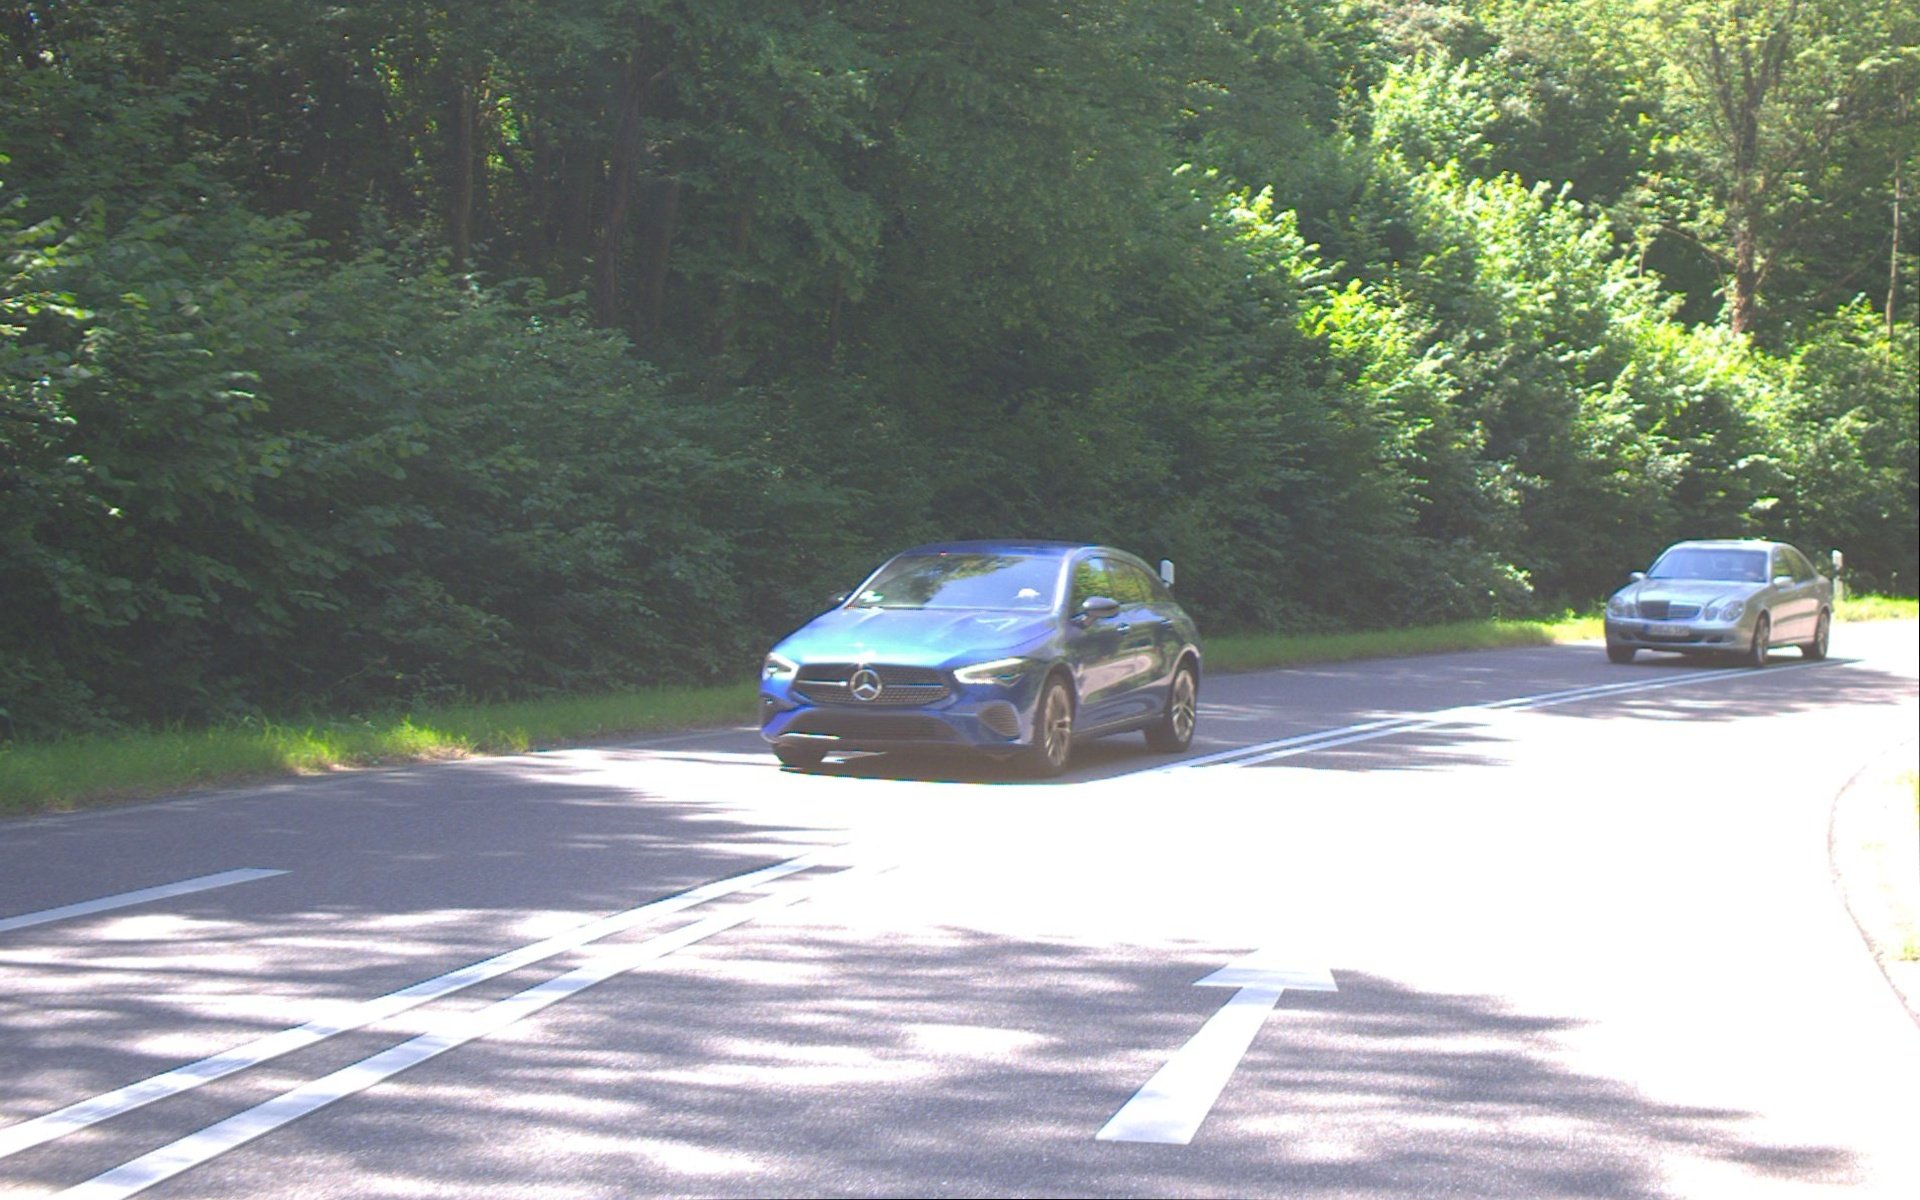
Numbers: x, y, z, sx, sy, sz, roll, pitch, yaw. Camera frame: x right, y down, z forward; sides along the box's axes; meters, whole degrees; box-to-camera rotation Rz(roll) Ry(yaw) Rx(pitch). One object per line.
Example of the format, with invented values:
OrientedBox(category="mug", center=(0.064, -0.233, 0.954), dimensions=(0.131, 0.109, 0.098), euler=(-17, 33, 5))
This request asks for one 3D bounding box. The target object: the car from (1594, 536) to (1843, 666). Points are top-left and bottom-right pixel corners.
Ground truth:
OrientedBox(category="car", center=(9.256, -0.008, 41.664), dimensions=(1.848, 1.481, 4.758), euler=(0, 0, 26))

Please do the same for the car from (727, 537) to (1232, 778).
OrientedBox(category="car", center=(0.251, 0.317, 22.404), dimensions=(1.791, 1.401, 4.356), euler=(0, 0, 22))
